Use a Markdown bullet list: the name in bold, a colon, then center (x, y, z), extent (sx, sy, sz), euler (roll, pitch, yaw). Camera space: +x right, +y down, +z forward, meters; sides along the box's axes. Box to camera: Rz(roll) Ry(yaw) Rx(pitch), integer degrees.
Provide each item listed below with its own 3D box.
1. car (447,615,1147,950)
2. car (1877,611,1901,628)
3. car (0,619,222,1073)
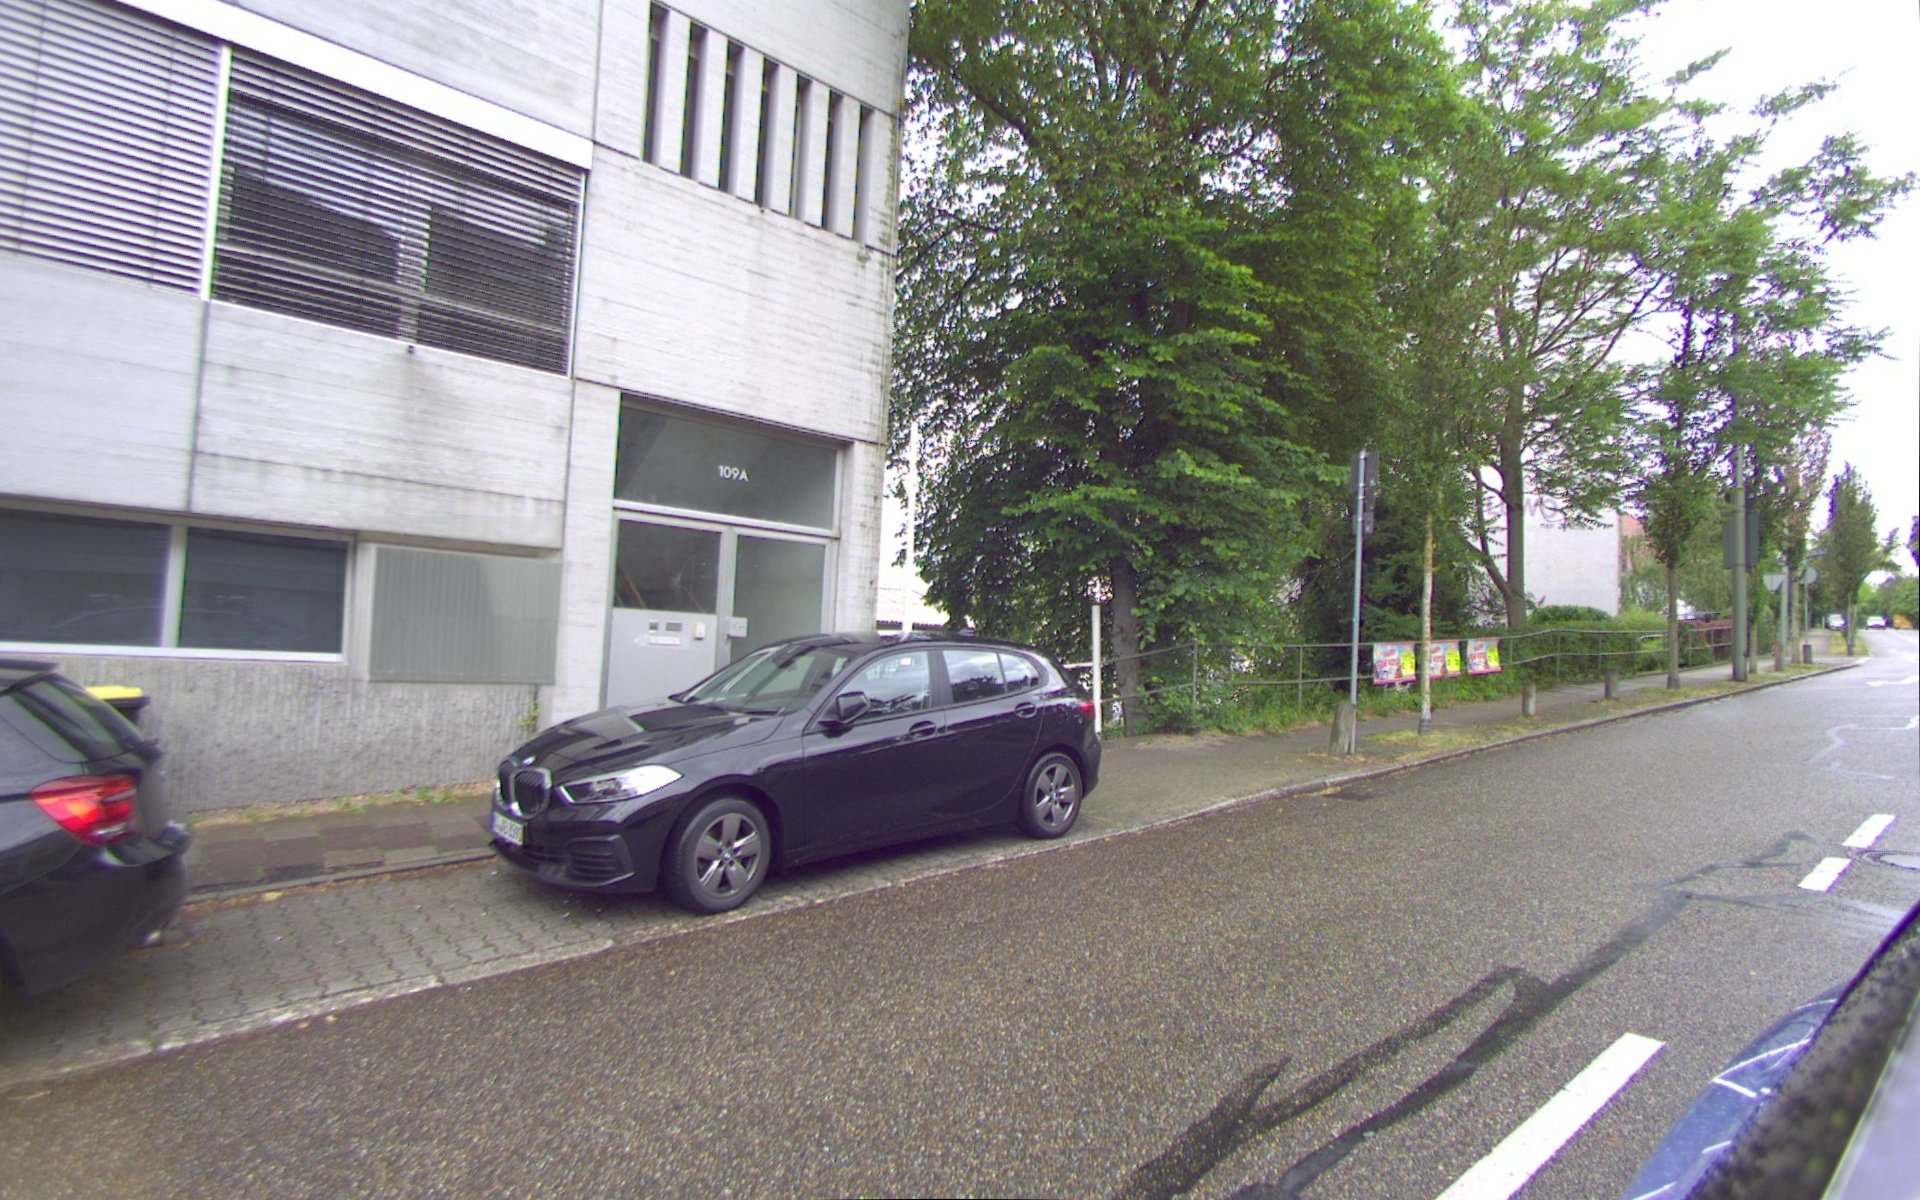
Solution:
- **car**: center (-0.857, 0.881, 6.921), extent (4.367, 1.453, 1.996), euler (0, 1, -43)
- **car**: center (107.005, 2.230, 116.563), extent (1.888, 1.741, 4.169), euler (2, 2, 44)
- **car**: center (-4.921, 0.838, 3.161), extent (4.173, 1.466, 1.753), euler (0, 0, -38)
